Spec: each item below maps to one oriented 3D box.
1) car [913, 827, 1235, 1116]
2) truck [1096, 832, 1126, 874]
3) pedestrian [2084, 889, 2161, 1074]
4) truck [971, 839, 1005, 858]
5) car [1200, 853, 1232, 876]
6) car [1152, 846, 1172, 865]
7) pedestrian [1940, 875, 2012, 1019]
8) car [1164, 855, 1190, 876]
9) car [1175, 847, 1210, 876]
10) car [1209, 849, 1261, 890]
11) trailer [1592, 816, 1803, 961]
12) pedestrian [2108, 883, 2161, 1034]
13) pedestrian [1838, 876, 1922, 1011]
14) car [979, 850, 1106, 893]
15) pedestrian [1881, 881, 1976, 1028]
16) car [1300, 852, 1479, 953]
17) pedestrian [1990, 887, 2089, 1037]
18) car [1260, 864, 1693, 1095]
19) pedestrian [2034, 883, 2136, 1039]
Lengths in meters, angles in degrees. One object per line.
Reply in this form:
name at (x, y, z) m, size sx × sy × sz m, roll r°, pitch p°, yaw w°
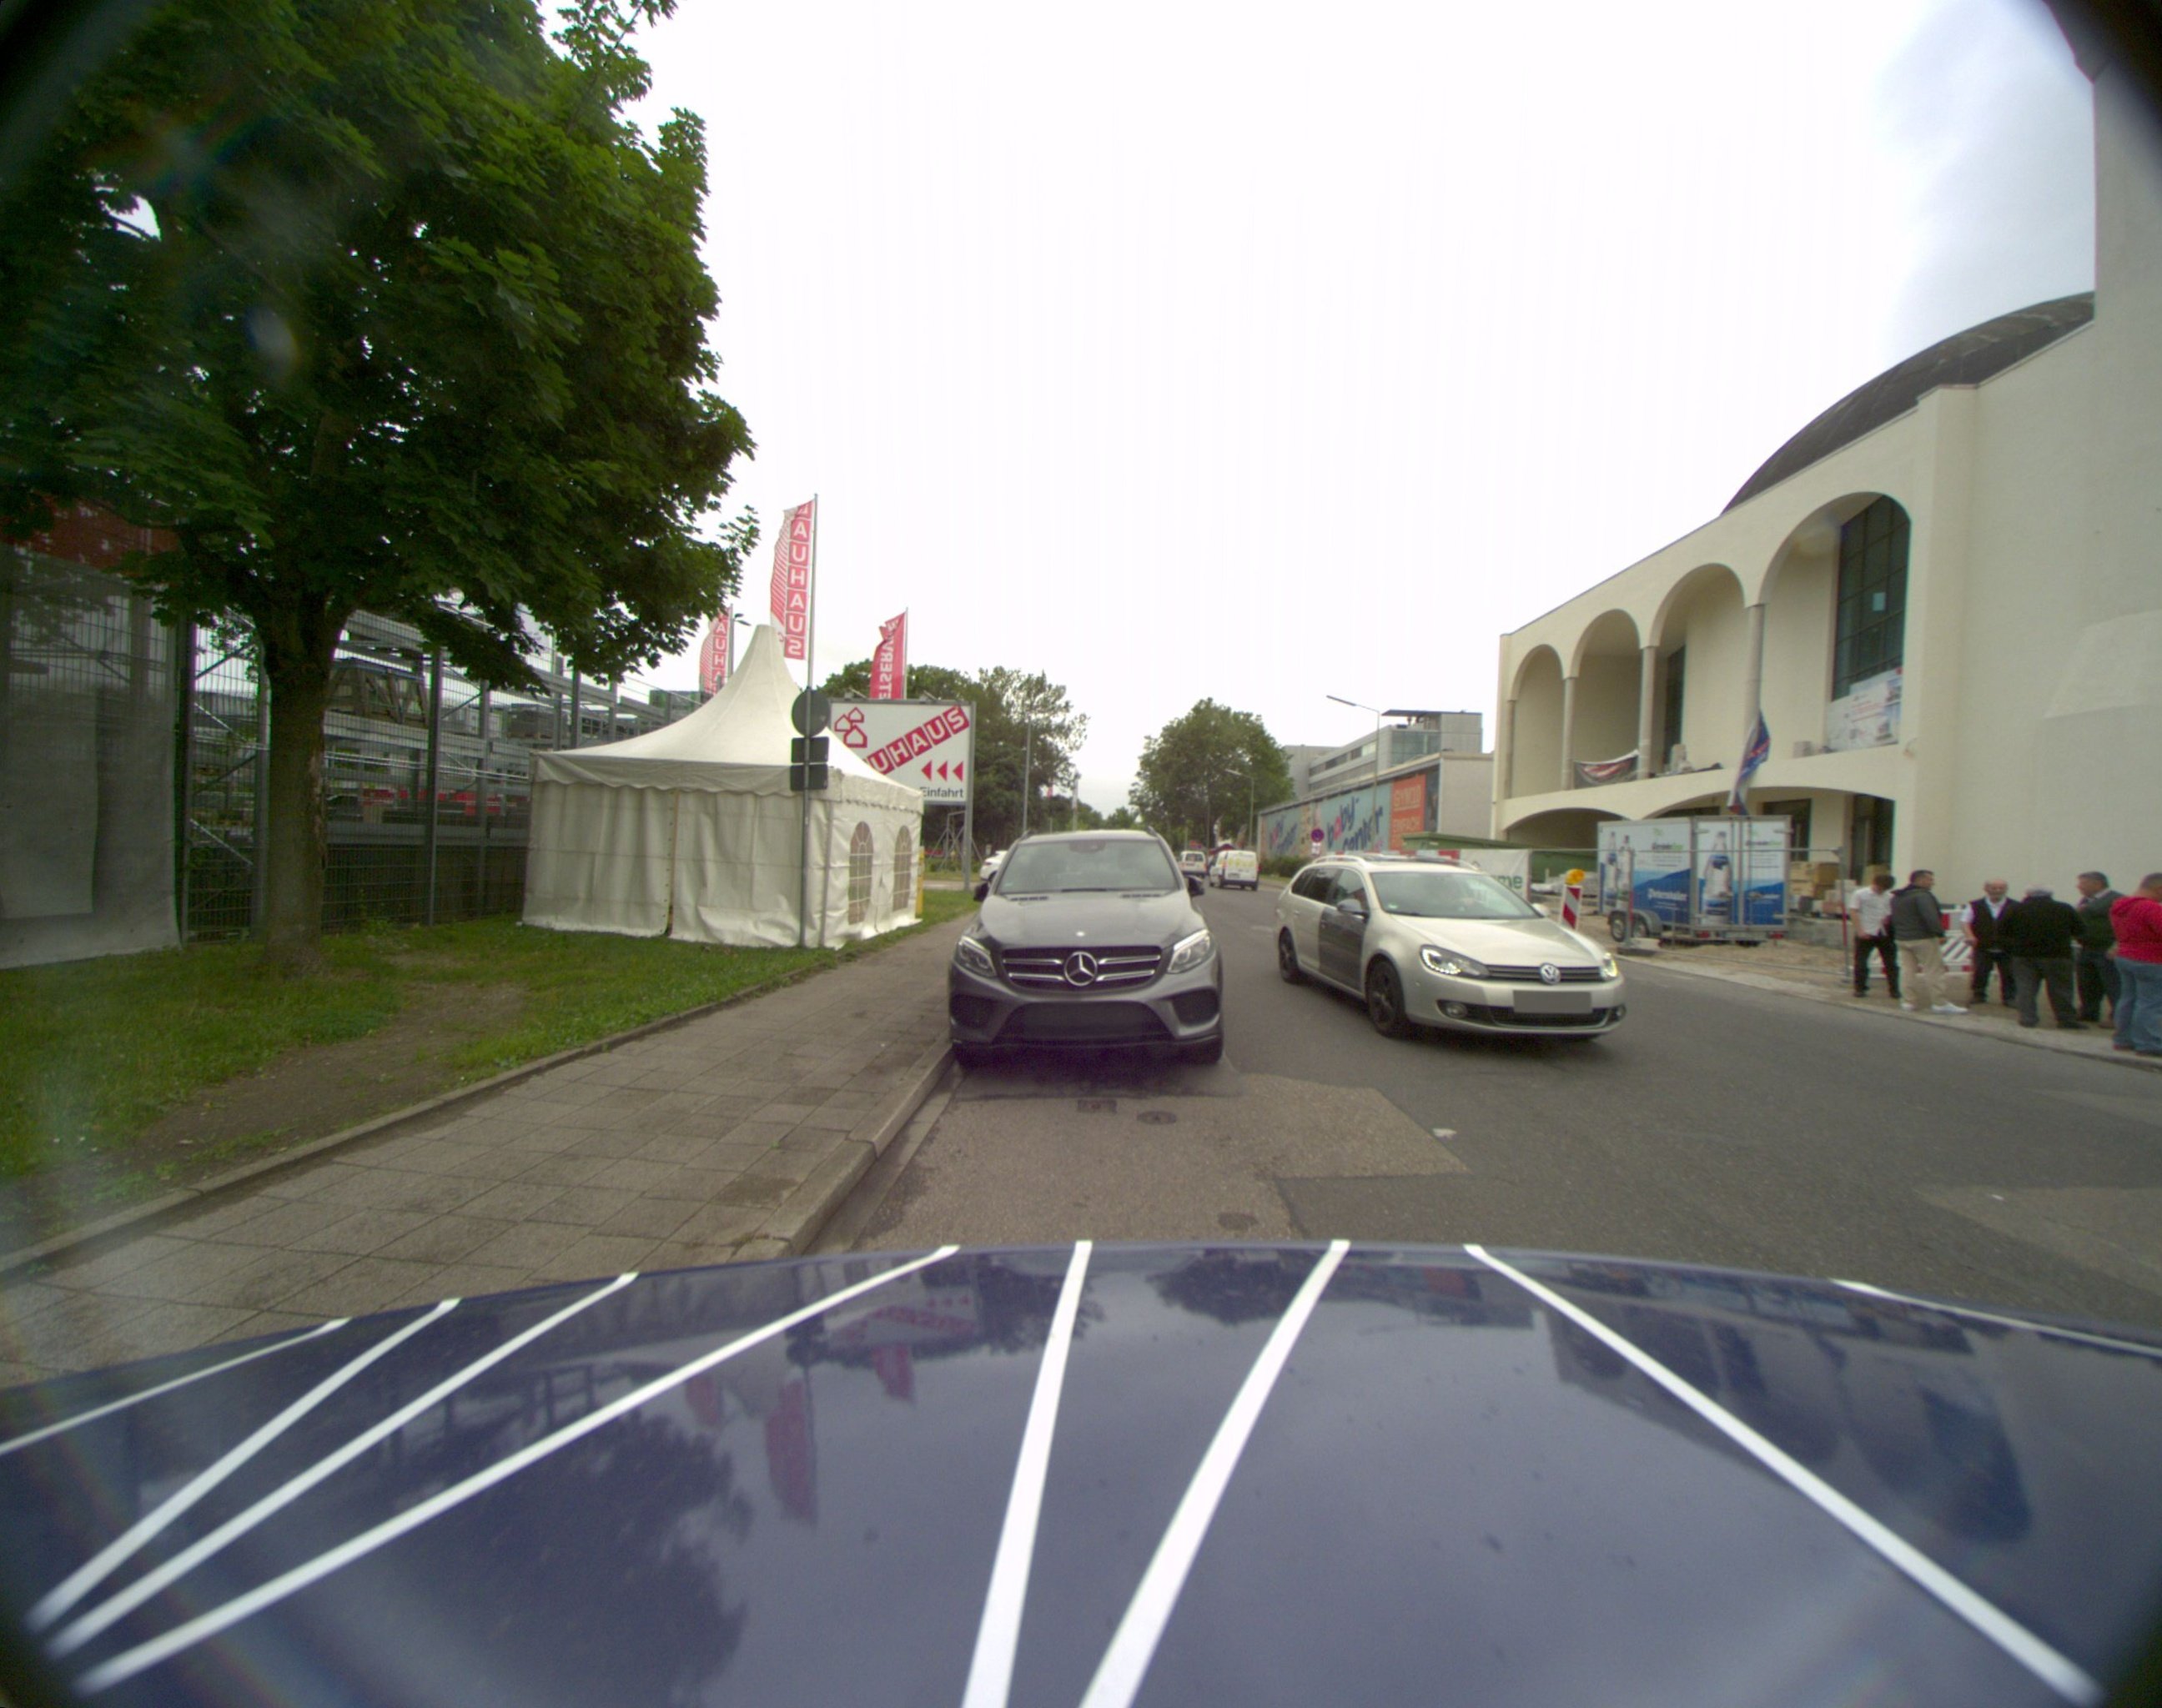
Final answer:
car at (0.075, 0.703, 6.814) m, size 1.913 × 1.731 × 4.481 m, roll -1°, pitch 0°, yaw 3°
truck at (1.931, -0.054, 49.377) m, size 1.852 × 2.597 × 4.000 m, roll -1°, pitch 1°, yaw 2°
pedestrian at (10.134, 1.178, 7.206) m, size 0.533 × 1.682 × 0.513 m, roll 0°, pitch -1°, yaw -9°
truck at (-12.500, -0.702, 102.244) m, size 1.994 × 2.383 × 4.009 m, roll 3°, pitch 1°, yaw 42°
car at (10.594, 0.762, 59.977) m, size 1.928 × 1.565 × 4.150 m, roll 5°, pitch 1°, yaw 3°
car at (9.332, 0.154, 87.771) m, size 1.931 × 2.002 × 4.955 m, roll 2°, pitch 1°, yaw 3°
pedestrian at (11.243, 1.138, 9.549) m, size 0.492 × 1.738 × 0.527 m, roll 1°, pitch -2°, yaw -39°
car at (7.890, 0.898, 62.845) m, size 1.733 × 1.562 × 3.947 m, roll 4°, pitch 1°, yaw 3°
car at (7.768, 0.505, 53.269) m, size 1.799 × 1.797 × 4.383 m, roll 3°, pitch 1°, yaw 2°
car at (7.246, 0.674, 36.075) m, size 1.693 × 1.751 × 4.135 m, roll 2°, pitch 1°, yaw 2°
trailer at (12.461, 0.625, 15.650) m, size 1.802 × 2.592 × 3.192 m, roll 3°, pitch 1°, yaw 6°
pedestrian at (11.996, 1.160, 8.537) m, size 0.541 × 1.603 × 0.489 m, roll -6°, pitch 5°, yaw -37°
pedestrian at (10.747, 1.177, 10.242) m, size 0.689 × 1.738 × 0.492 m, roll -2°, pitch -2°, yaw 41°
car at (-1.433, 0.618, 28.065) m, size 4.493 × 1.420 × 1.938 m, roll 1°, pitch 2°, yaw -4°
pedestrian at (10.453, 1.204, 9.396) m, size 0.689 × 1.738 × 0.492 m, roll -2°, pitch -2°, yaw 41°
car at (6.173, 0.867, 15.867) m, size 1.938 × 1.674 × 4.495 m, roll 3°, pitch 1°, yaw 2°
pedestrian at (10.690, 1.169, 8.492) m, size 0.570 × 1.601 × 0.492 m, roll -2°, pitch -2°, yaw 41°
car at (3.205, 0.888, 7.315) m, size 1.758 × 1.443 × 4.295 m, roll 1°, pitch 1°, yaw -2°
pedestrian at (11.310, 1.173, 8.567) m, size 0.411 × 1.682 × 0.572 m, roll 0°, pitch -2°, yaw -24°
